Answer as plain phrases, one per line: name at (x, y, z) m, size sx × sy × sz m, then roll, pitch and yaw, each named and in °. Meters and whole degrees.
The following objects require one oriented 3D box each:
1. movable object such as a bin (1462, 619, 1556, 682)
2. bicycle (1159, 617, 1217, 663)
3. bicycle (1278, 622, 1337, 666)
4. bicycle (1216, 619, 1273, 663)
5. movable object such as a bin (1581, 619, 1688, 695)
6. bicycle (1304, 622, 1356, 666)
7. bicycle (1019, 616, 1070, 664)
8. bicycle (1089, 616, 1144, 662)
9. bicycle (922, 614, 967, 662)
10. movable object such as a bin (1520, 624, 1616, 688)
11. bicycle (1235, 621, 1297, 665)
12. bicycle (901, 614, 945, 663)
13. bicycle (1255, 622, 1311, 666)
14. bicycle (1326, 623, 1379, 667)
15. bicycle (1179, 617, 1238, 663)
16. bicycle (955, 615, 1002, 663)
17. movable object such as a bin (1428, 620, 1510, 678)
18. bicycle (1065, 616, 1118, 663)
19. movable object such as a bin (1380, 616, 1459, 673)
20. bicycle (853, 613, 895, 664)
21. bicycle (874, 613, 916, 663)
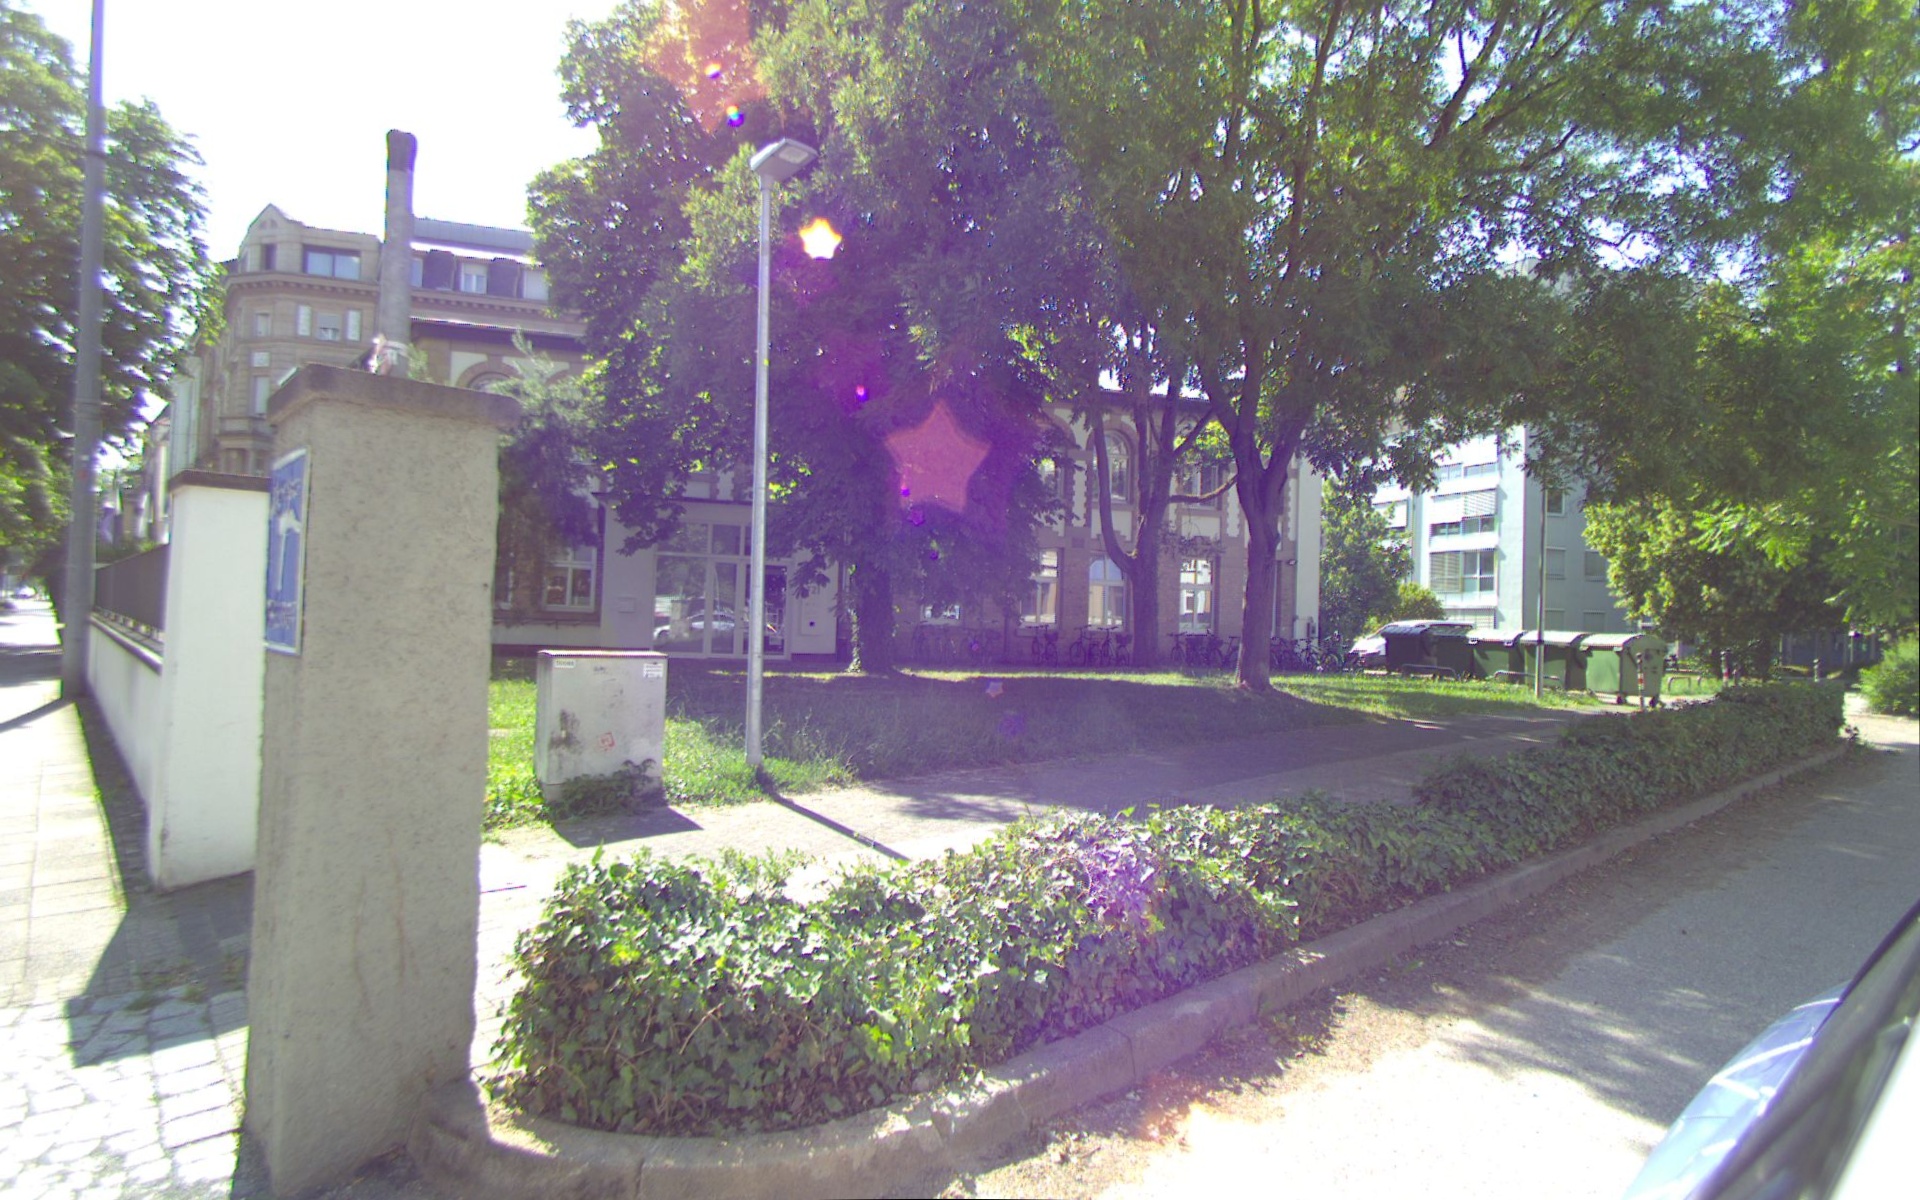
movable object such as a bin at (12.735, 1.158, 23.530) m, size 1.190 × 1.379 × 1.505 m, roll 2°, pitch -1°, yaw -20°
bicycle at (6.252, 1.084, 27.830) m, size 0.575 × 1.176 × 2.107 m, roll 2°, pitch -1°, yaw -17°
bicycle at (9.934, 1.232, 28.995) m, size 0.600 × 1.176 × 1.855 m, roll 2°, pitch -1°, yaw -17°
bicycle at (7.919, 1.128, 28.279) m, size 0.575 × 1.176 × 1.925 m, roll 2°, pitch -1°, yaw -17°
movable object such as a bin at (13.775, 1.141, 20.708) m, size 1.191 × 1.481 × 1.393 m, roll 1°, pitch -1°, yaw -5°
bicycle at (10.586, 1.238, 29.030) m, size 0.496 × 1.176 × 1.808 m, roll 2°, pitch -1°, yaw -12°
bicycle at (2.207, 1.031, 26.757) m, size 0.575 × 1.176 × 2.107 m, roll 2°, pitch -1°, yaw -17°
bicycle at (4.211, 1.036, 27.361) m, size 0.575 × 1.176 × 2.107 m, roll 2°, pitch -1°, yaw -17°
bicycle at (-0.421, 0.964, 26.117) m, size 0.575 × 1.176 × 2.107 m, roll 2°, pitch -1°, yaw -17°
movable object such as a bin at (13.275, 1.212, 22.131) m, size 1.190 × 1.317 × 1.358 m, roll 2°, pitch -1°, yaw -20°
bicycle at (8.599, 1.196, 28.559) m, size 0.575 × 1.176 × 2.107 m, roll 2°, pitch -1°, yaw -17°
bicycle at (-0.969, 0.959, 25.821) m, size 0.575 × 1.176 × 2.107 m, roll 2°, pitch -1°, yaw -17°
bicycle at (9.142, 1.219, 28.701) m, size 0.484 × 1.176 × 1.918 m, roll 2°, pitch -1°, yaw -17°
bicycle at (11.212, 1.258, 28.961) m, size 0.546 × 1.176 × 1.947 m, roll 2°, pitch -1°, yaw -7°
bicycle at (6.864, 1.089, 28.073) m, size 0.575 × 1.176 × 2.107 m, roll 2°, pitch -1°, yaw -17°
bicycle at (0.470, 0.984, 26.320) m, size 0.575 × 1.176 × 2.107 m, roll 2°, pitch -1°, yaw -17°
movable object such as a bin at (12.586, 1.211, 25.067) m, size 1.190 × 1.366 × 1.355 m, roll 2°, pitch -1°, yaw -20°
bicycle at (3.495, 1.036, 27.107) m, size 0.575 × 1.176 × 2.107 m, roll 2°, pitch -1°, yaw -17°
movable object such as a bin at (12.030, 1.145, 26.544) m, size 1.224 × 1.427 × 1.439 m, roll 2°, pitch -1°, yaw -21°
bicycle at (-2.151, 0.926, 25.004) m, size 0.575 × 1.176 × 2.107 m, roll 2°, pitch -1°, yaw -17°
bicycle at (-1.664, 0.937, 25.614) m, size 0.575 × 1.176 × 2.107 m, roll 2°, pitch -1°, yaw -17°
